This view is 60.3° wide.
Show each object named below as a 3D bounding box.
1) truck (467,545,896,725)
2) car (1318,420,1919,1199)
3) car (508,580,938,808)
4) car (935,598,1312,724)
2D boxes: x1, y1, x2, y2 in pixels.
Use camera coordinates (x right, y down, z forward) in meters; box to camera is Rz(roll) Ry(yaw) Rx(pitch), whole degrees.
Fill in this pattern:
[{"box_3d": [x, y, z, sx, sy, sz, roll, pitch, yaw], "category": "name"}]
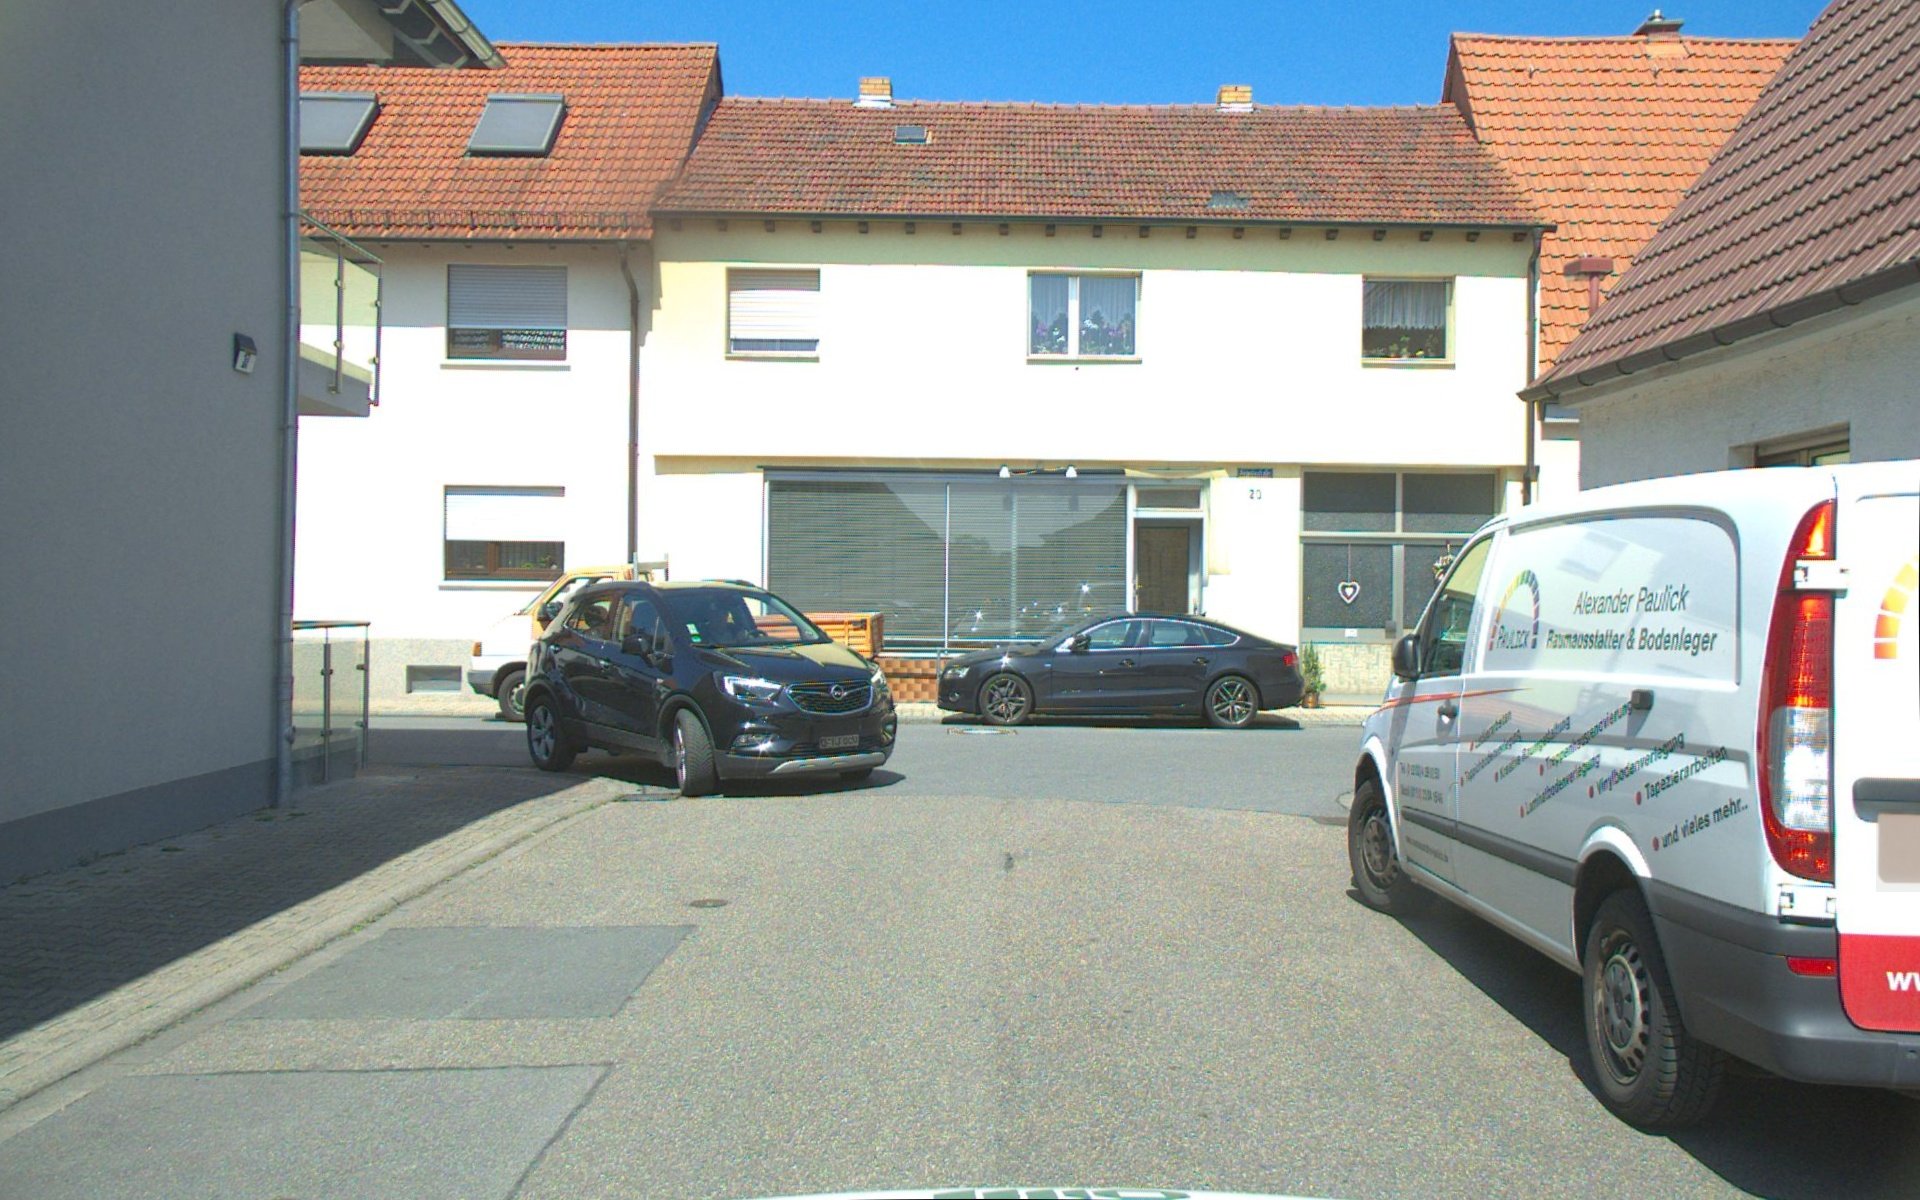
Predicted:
[{"box_3d": [-3.371, 0.425, 20.839, 4.959, 2.049, 2.190, 1, -1, 1], "category": "truck"}, {"box_3d": [2.938, 0.542, 6.468, 1.971, 1.871, 5.266, 2, 0, 1], "category": "car"}, {"box_3d": [-2.144, 0.658, 13.949, 1.744, 1.610, 4.222, -1, 1, -38], "category": "car"}, {"box_3d": [1.962, 0.784, 20.829, 4.522, 1.419, 1.927, 1, -3, -1], "category": "car"}]
